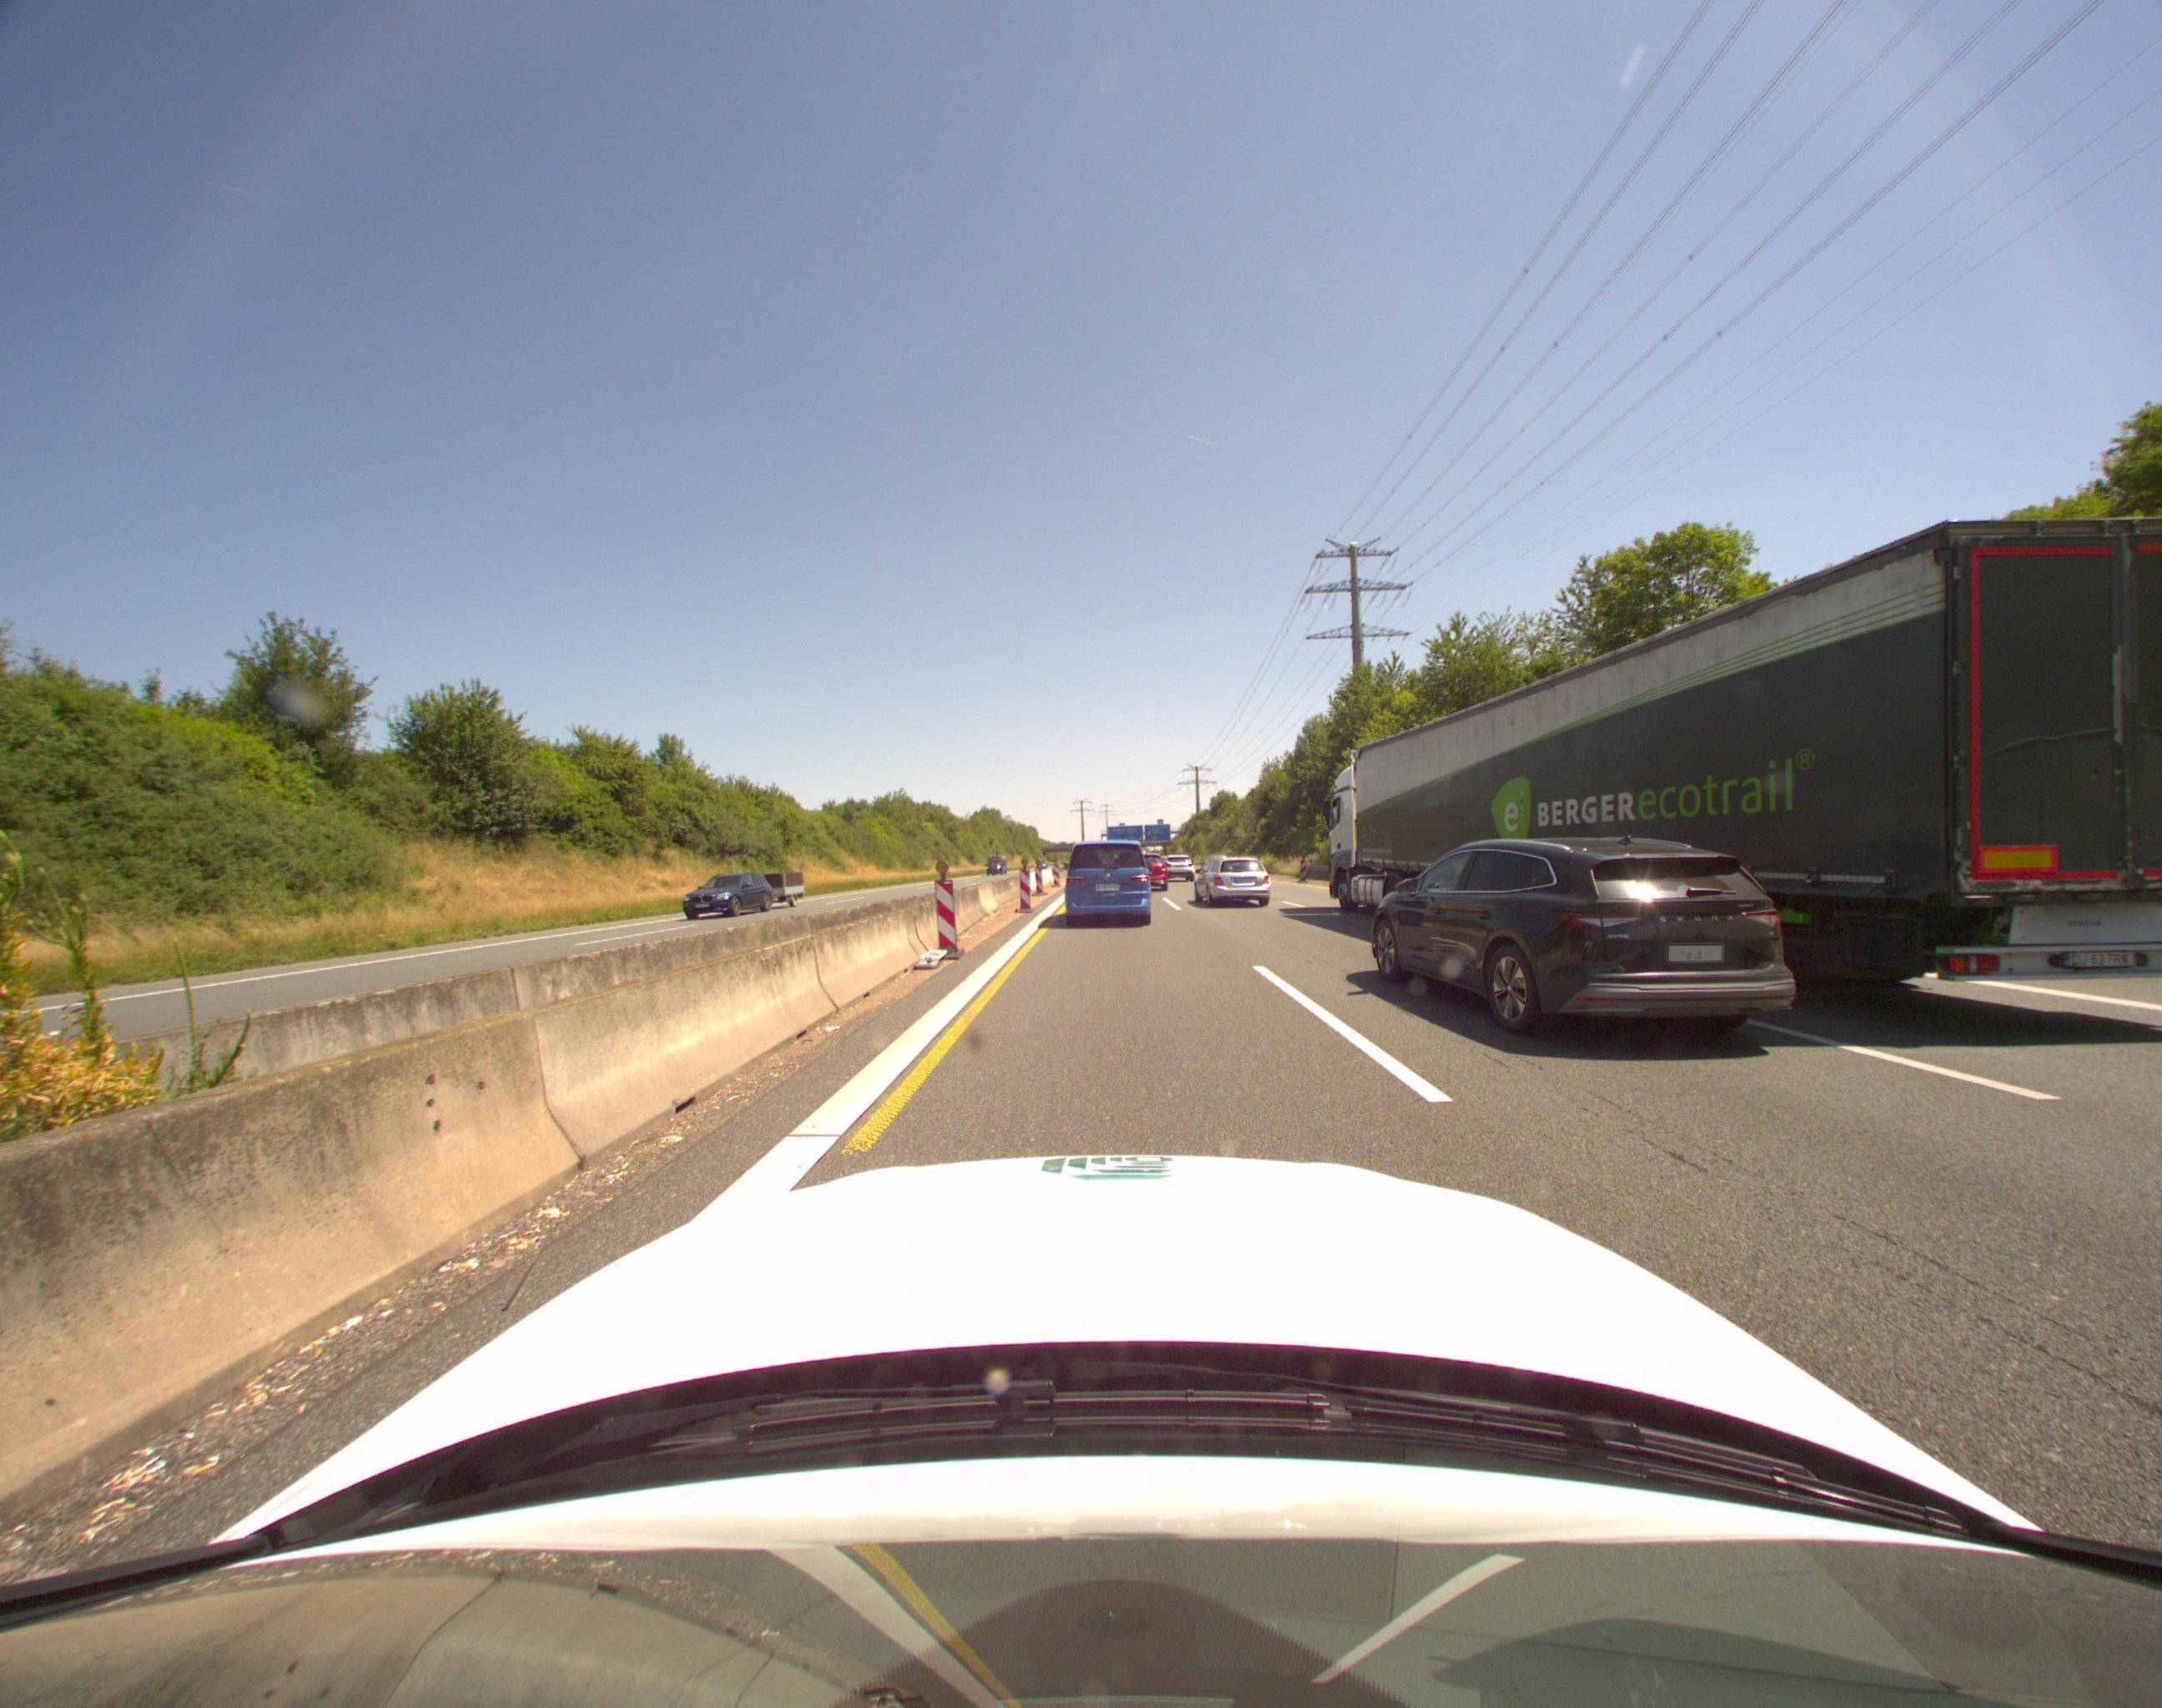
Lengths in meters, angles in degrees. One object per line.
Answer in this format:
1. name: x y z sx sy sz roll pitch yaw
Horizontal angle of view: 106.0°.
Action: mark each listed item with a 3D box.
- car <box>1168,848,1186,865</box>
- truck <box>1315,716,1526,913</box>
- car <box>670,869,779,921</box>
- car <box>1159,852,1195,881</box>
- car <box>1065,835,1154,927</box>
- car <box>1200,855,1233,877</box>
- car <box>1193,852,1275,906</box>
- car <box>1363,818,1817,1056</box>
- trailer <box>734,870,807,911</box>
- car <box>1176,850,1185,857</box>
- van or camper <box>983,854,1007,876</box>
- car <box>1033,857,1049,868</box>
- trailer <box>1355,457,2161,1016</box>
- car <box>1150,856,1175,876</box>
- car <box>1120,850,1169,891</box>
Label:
1. car: 11.170 0.317 95.017 1.791 2.014 4.228 0 0 2
2. truck: 7.819 -0.791 19.663 2.723 4.047 5.794 0 -1 1
3. car: -13.835 1.543 31.978 1.986 1.650 4.632 -4 0 2
4. car: 5.599 0.728 47.968 1.791 1.594 4.228 0 0 2
5. car: 0.635 0.583 19.313 1.868 1.912 4.360 0 0 1
6. car: 8.944 0.788 53.995 1.694 1.448 3.789 0 0 2
7. car: 4.549 0.715 24.869 1.764 1.517 4.360 0 0 1
8. car: 4.312 0.592 7.892 1.695 1.655 4.430 0 0 1
9. trailer: -13.719 1.575 36.214 1.563 1.552 3.781 -4 0 2
10. car: 24.749 -0.147 202.182 1.868 1.671 4.360 0 0 1
11. van or camper: -11.315 1.399 107.687 2.215 2.710 7.081 -4 -1 1
12. car: -6.278 1.314 128.024 1.986 1.684 4.154 -4 0 1
13. trailer: 7.725 -0.815 12.441 2.774 4.047 13.111 0 0 1
14. car: 6.702 0.953 67.138 1.791 1.594 4.228 0 0 2
15. car: 2.711 0.695 35.714 1.868 1.671 4.360 0 0 1
